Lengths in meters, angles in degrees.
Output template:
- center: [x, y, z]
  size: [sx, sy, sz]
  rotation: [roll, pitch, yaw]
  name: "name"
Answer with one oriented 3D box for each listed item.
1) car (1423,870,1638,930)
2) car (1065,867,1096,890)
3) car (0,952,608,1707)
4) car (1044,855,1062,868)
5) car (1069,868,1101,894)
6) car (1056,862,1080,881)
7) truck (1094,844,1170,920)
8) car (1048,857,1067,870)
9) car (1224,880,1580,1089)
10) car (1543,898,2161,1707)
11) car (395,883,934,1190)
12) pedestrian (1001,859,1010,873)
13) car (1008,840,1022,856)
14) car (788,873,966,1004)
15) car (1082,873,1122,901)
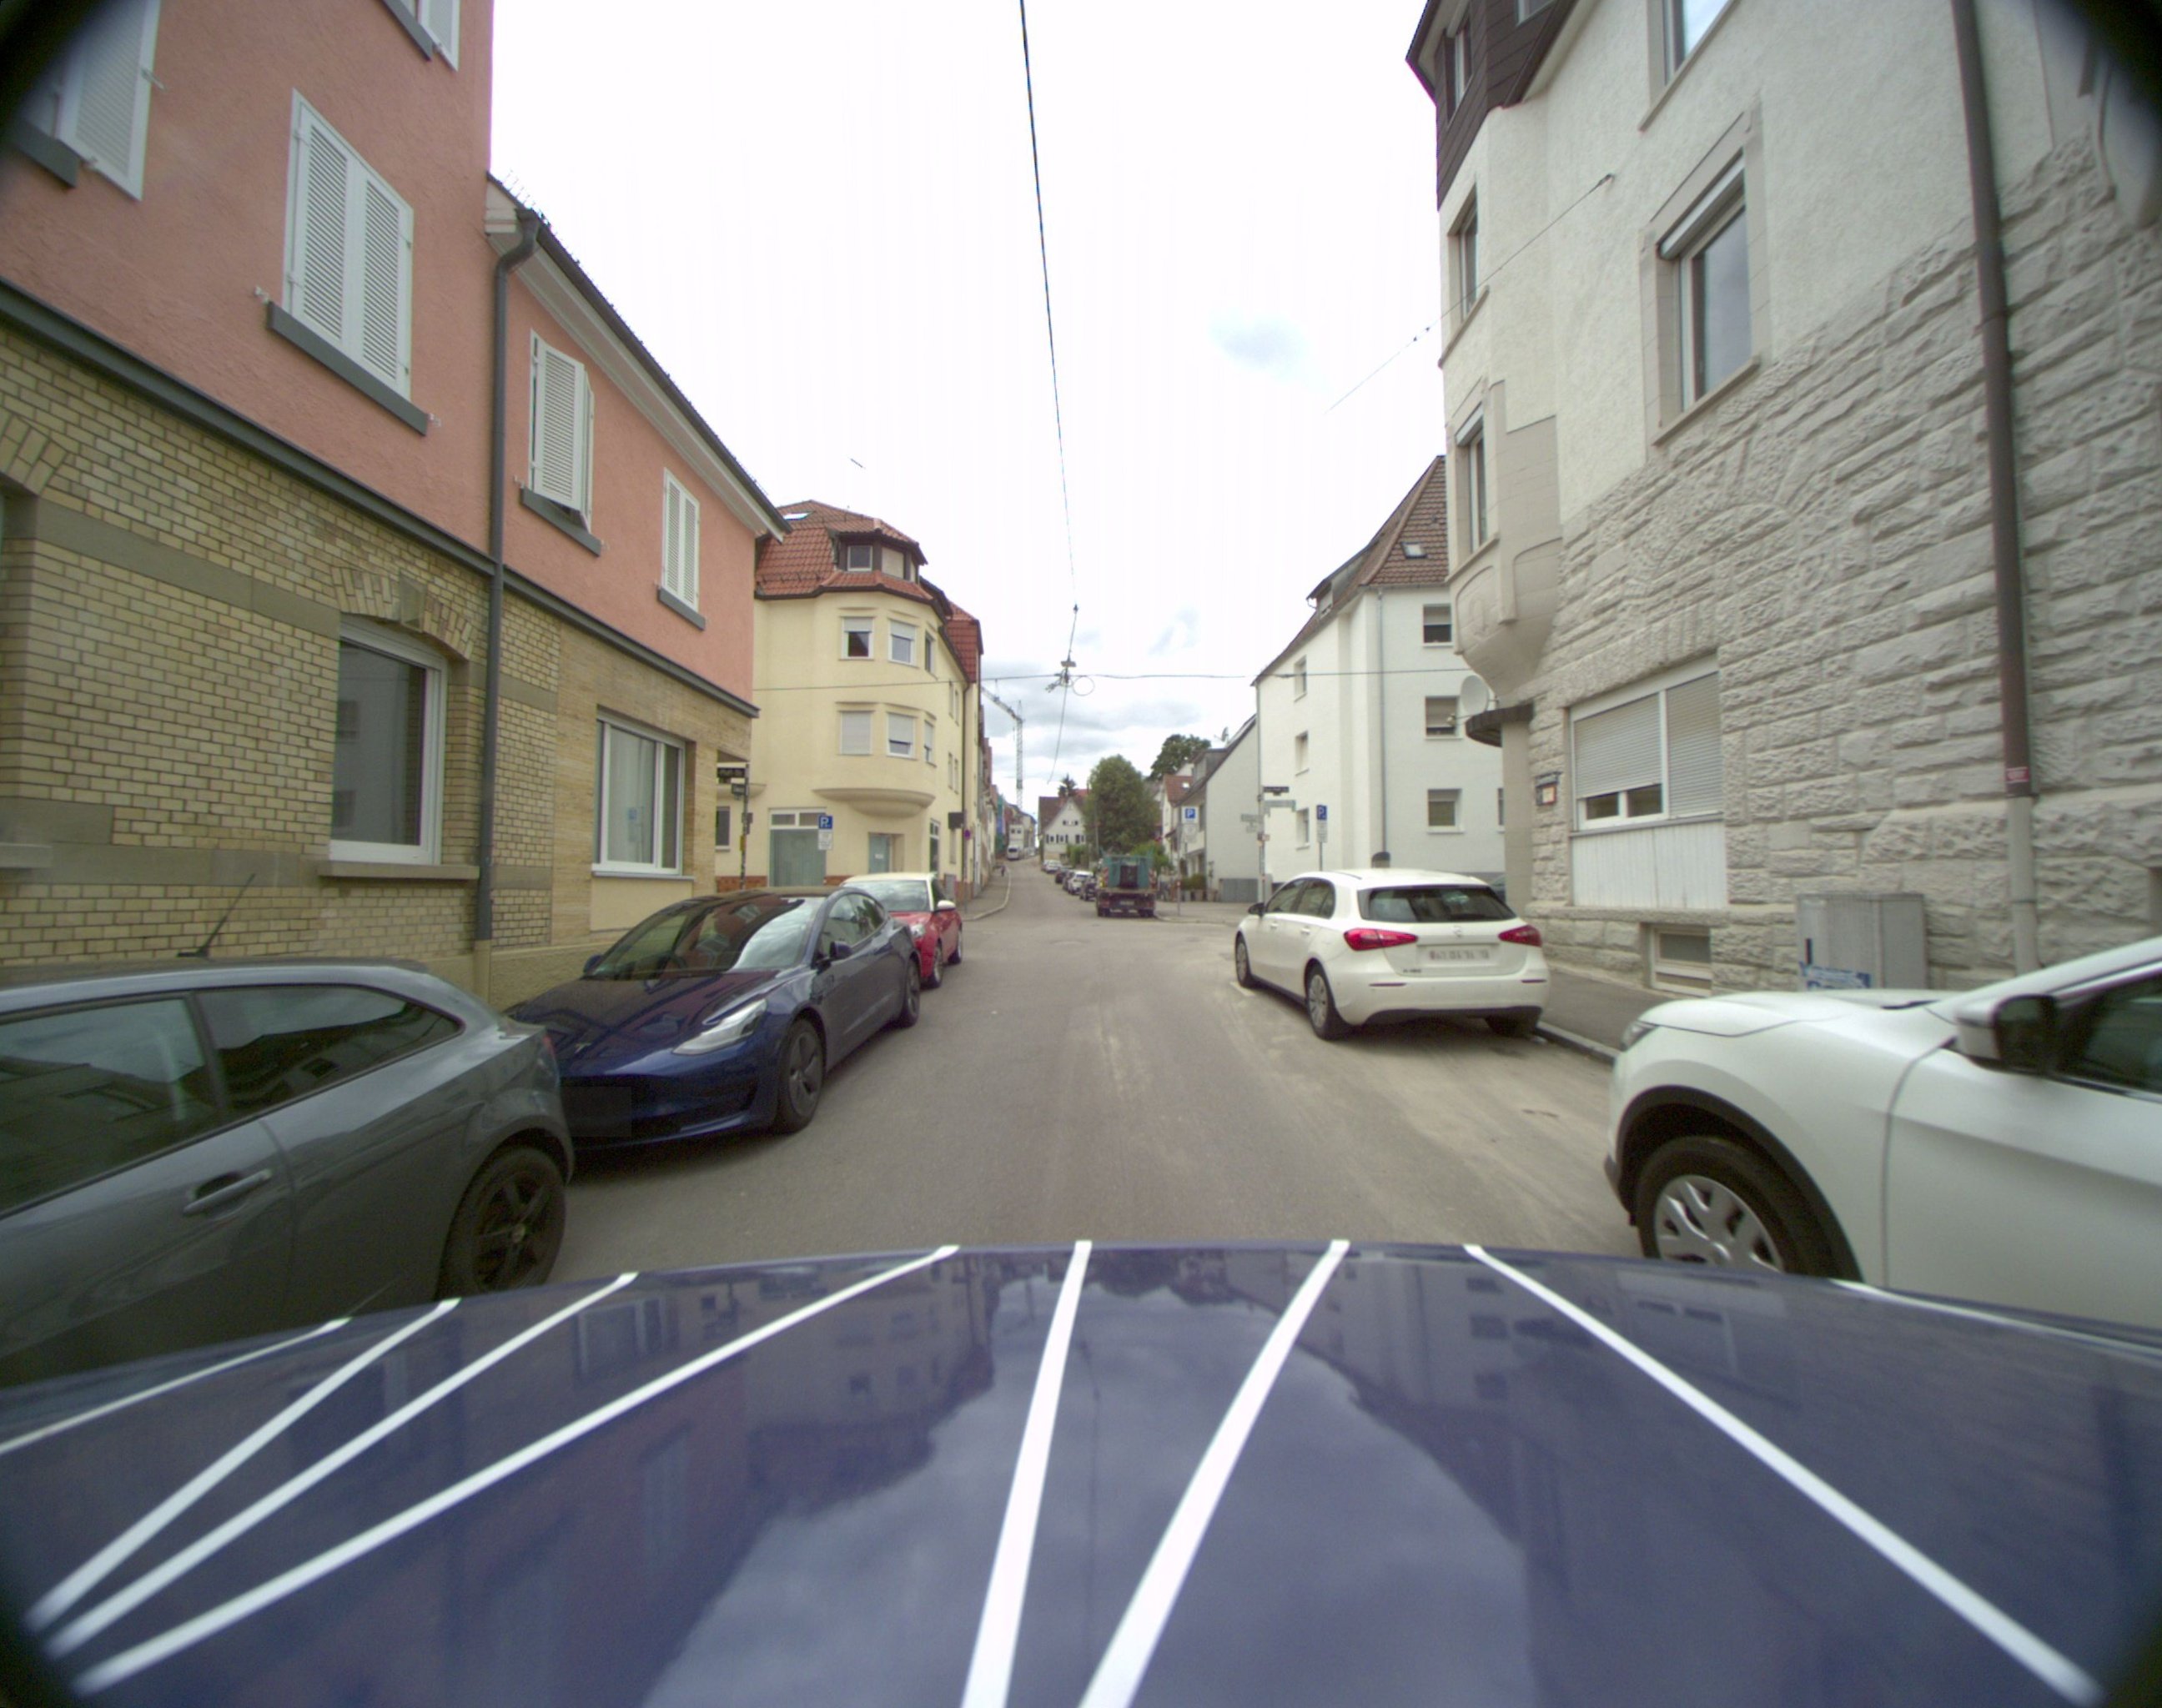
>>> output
- center: [11.260, 1.177, 19.291]
  size: [4.293, 1.382, 1.828]
  rotation: [-1, -3, 4]
  name: "car"
- center: [-0.086, 1.817, 57.365]
  size: [1.856, 1.641, 3.944]
  rotation: [1, 0, -6]
  name: "car"
- center: [-2.905, 1.127, 1.258]
  size: [1.857, 1.395, 3.966]
  rotation: [-2, -1, -3]
  name: "car"
- center: [-3.522, 0.983, 95.232]
  size: [1.856, 1.441, 3.943]
  rotation: [1, 1, -6]
  name: "car"
- center: [0.236, 1.835, 52.138]
  size: [1.855, 1.640, 3.945]
  rotation: [1, -2, -4]
  name: "car"
- center: [-1.212, 1.595, 70.639]
  size: [1.856, 1.641, 3.944]
  rotation: [1, 0, -6]
  name: "car"
- center: [1.794, 1.073, 28.997]
  size: [2.316, 2.536, 6.290]
  rotation: [1, -2, -1]
  name: "truck"
- center: [-2.783, 1.119, 89.317]
  size: [1.856, 1.441, 3.944]
  rotation: [1, 0, -6]
  name: "car"
- center: [2.743, 1.019, 7.651]
  size: [1.703, 1.405, 4.240]
  rotation: [0, -1, -1]
  name: "car"
- center: [2.663, 0.899, 0.676]
  size: [1.850, 1.506, 4.240]
  rotation: [0, 0, -1]
  name: "car"
- center: [-2.554, 1.023, 6.048]
  size: [1.857, 1.395, 4.292]
  rotation: [-2, -1, 1]
  name: "car"
- center: [-8.017, 1.229, 80.638]
  size: [0.757, 1.480, 0.566]
  rotation: [0, -1, -19]
  name: "pedestrian"
- center: [-11.586, -1.021, 133.090]
  size: [2.194, 2.630, 5.823]
  rotation: [1, 0, -6]
  name: "car"
- center: [-2.672, 1.038, 10.758]
  size: [1.672, 1.470, 3.625]
  rotation: [0, 0, -2]
  name: "car"
- center: [1.149, 1.829, 43.117]
  size: [1.855, 1.454, 3.945]
  rotation: [1, -2, -4]
  name: "car"
